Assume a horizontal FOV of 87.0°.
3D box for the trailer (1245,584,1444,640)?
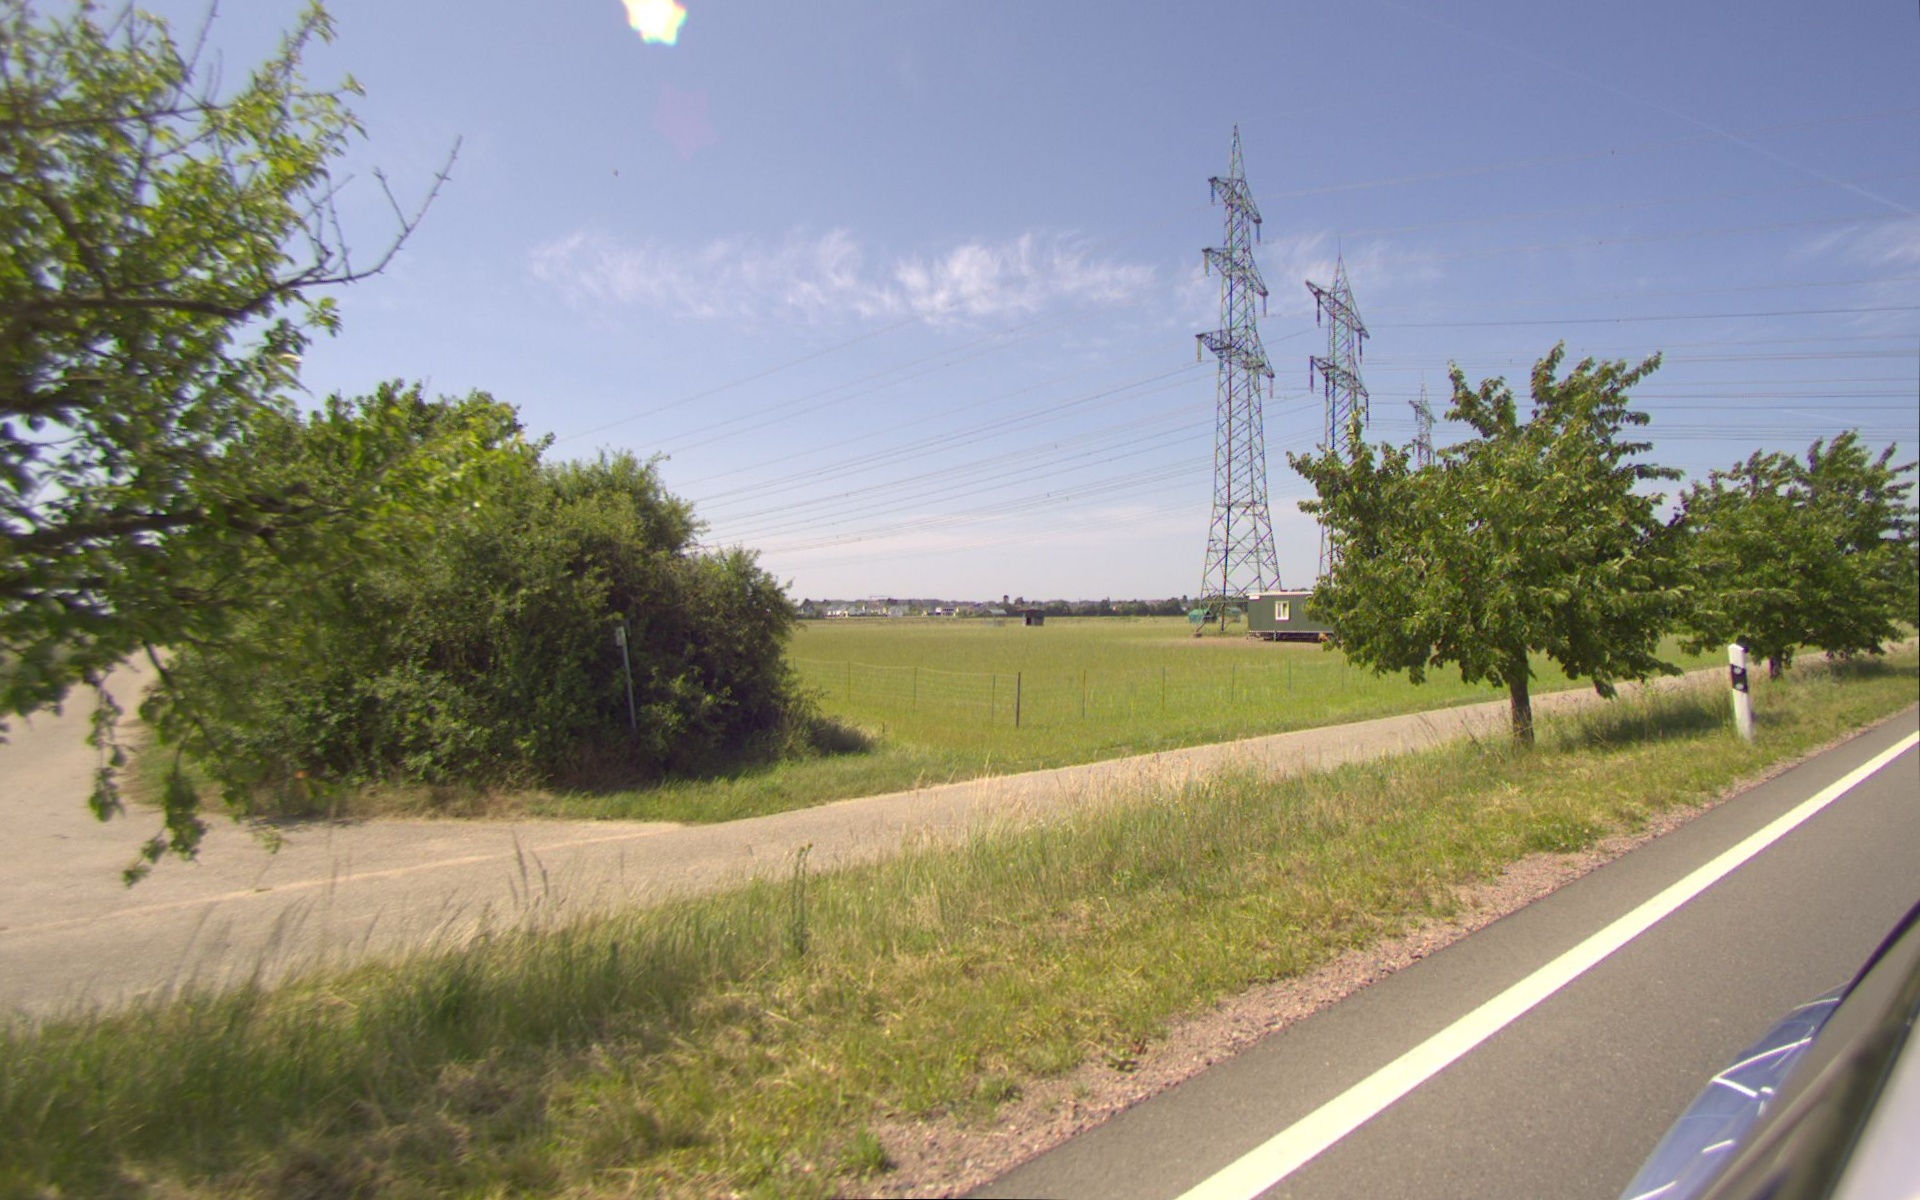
[{"bbox_3d":[25.865,0.823,68.990,3.737,3.517,12.433,0,-1,-40],"label":"trailer"}]
